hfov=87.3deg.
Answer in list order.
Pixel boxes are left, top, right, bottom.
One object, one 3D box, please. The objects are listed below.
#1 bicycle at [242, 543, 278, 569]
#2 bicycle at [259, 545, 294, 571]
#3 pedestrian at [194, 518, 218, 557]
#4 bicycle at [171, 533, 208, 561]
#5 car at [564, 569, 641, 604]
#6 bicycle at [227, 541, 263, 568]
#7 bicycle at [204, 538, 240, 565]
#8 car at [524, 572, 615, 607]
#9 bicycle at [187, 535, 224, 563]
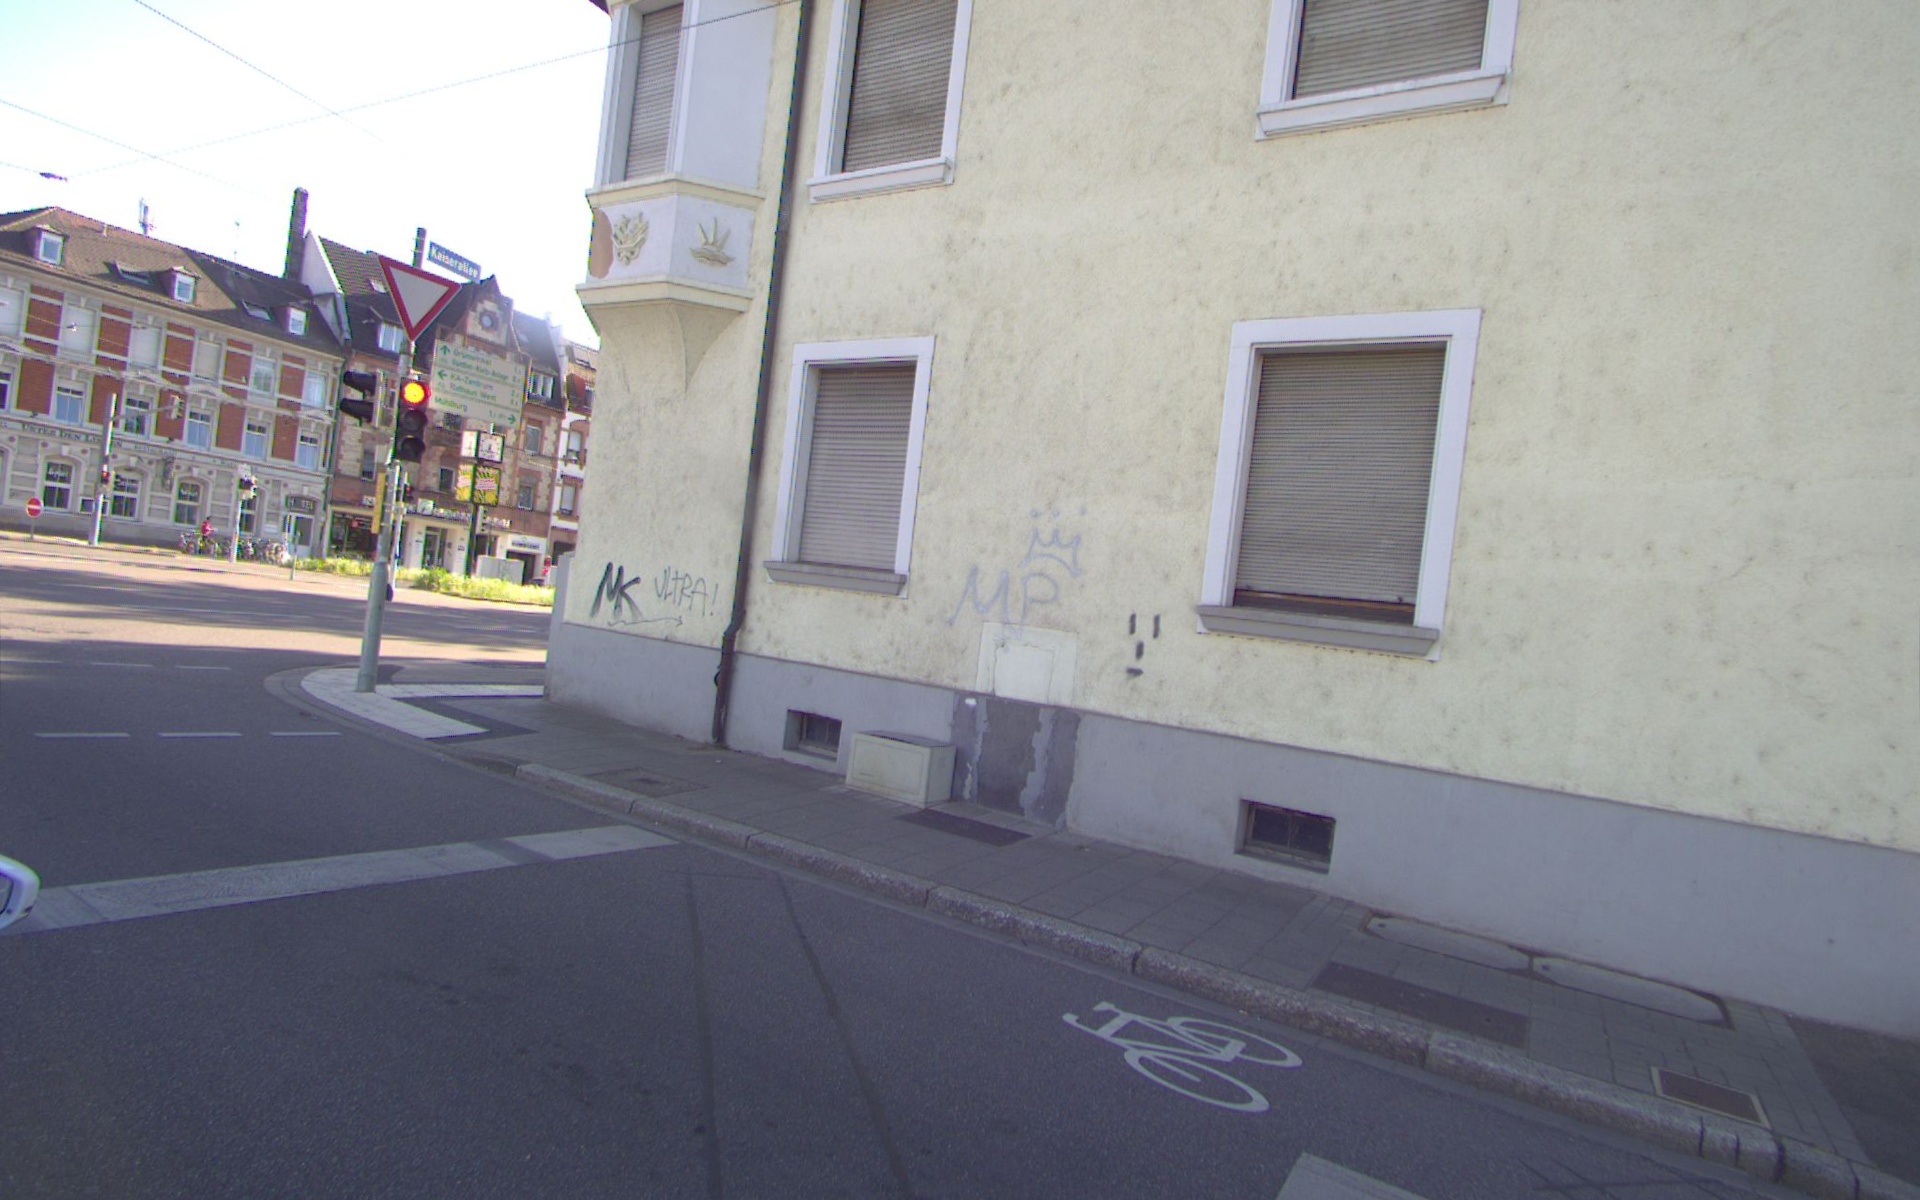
[{"bbox_3d":[-33.370,-2.094,47.954,1.614,1.064,0.606,7,0,27],"label":"bicycle"},{"bbox_3d":[-32.996,-2.019,48.592,1.614,1.064,0.606,7,0,27],"label":"bicycle"},{"bbox_3d":[-36.527,-3.026,48.734,0.414,1.773,0.709,7,0,33],"label":"pedestrian"},{"bbox_3d":[-34.960,-2.397,45.616,1.614,1.064,0.606,7,0,27],"label":"bicycle"},{"bbox_3d":[-23.139,-0.868,65.313,1.966,1.674,4.378,7,-1,29],"label":"car"},{"bbox_3d":[-33.664,-2.157,47.344,1.614,1.064,0.606,7,0,27],"label":"bicycle"},{"bbox_3d":[-34.330,-2.268,46.774,1.614,1.064,0.606,7,0,27],"label":"bicycle"},{"bbox_3d":[-22.291,-0.574,57.583,1.966,1.356,4.520,7,-1,30],"label":"car"},{"bbox_3d":[-34.660,-2.334,46.198,1.614,1.064,0.606,7,0,27],"label":"bicycle"}]
